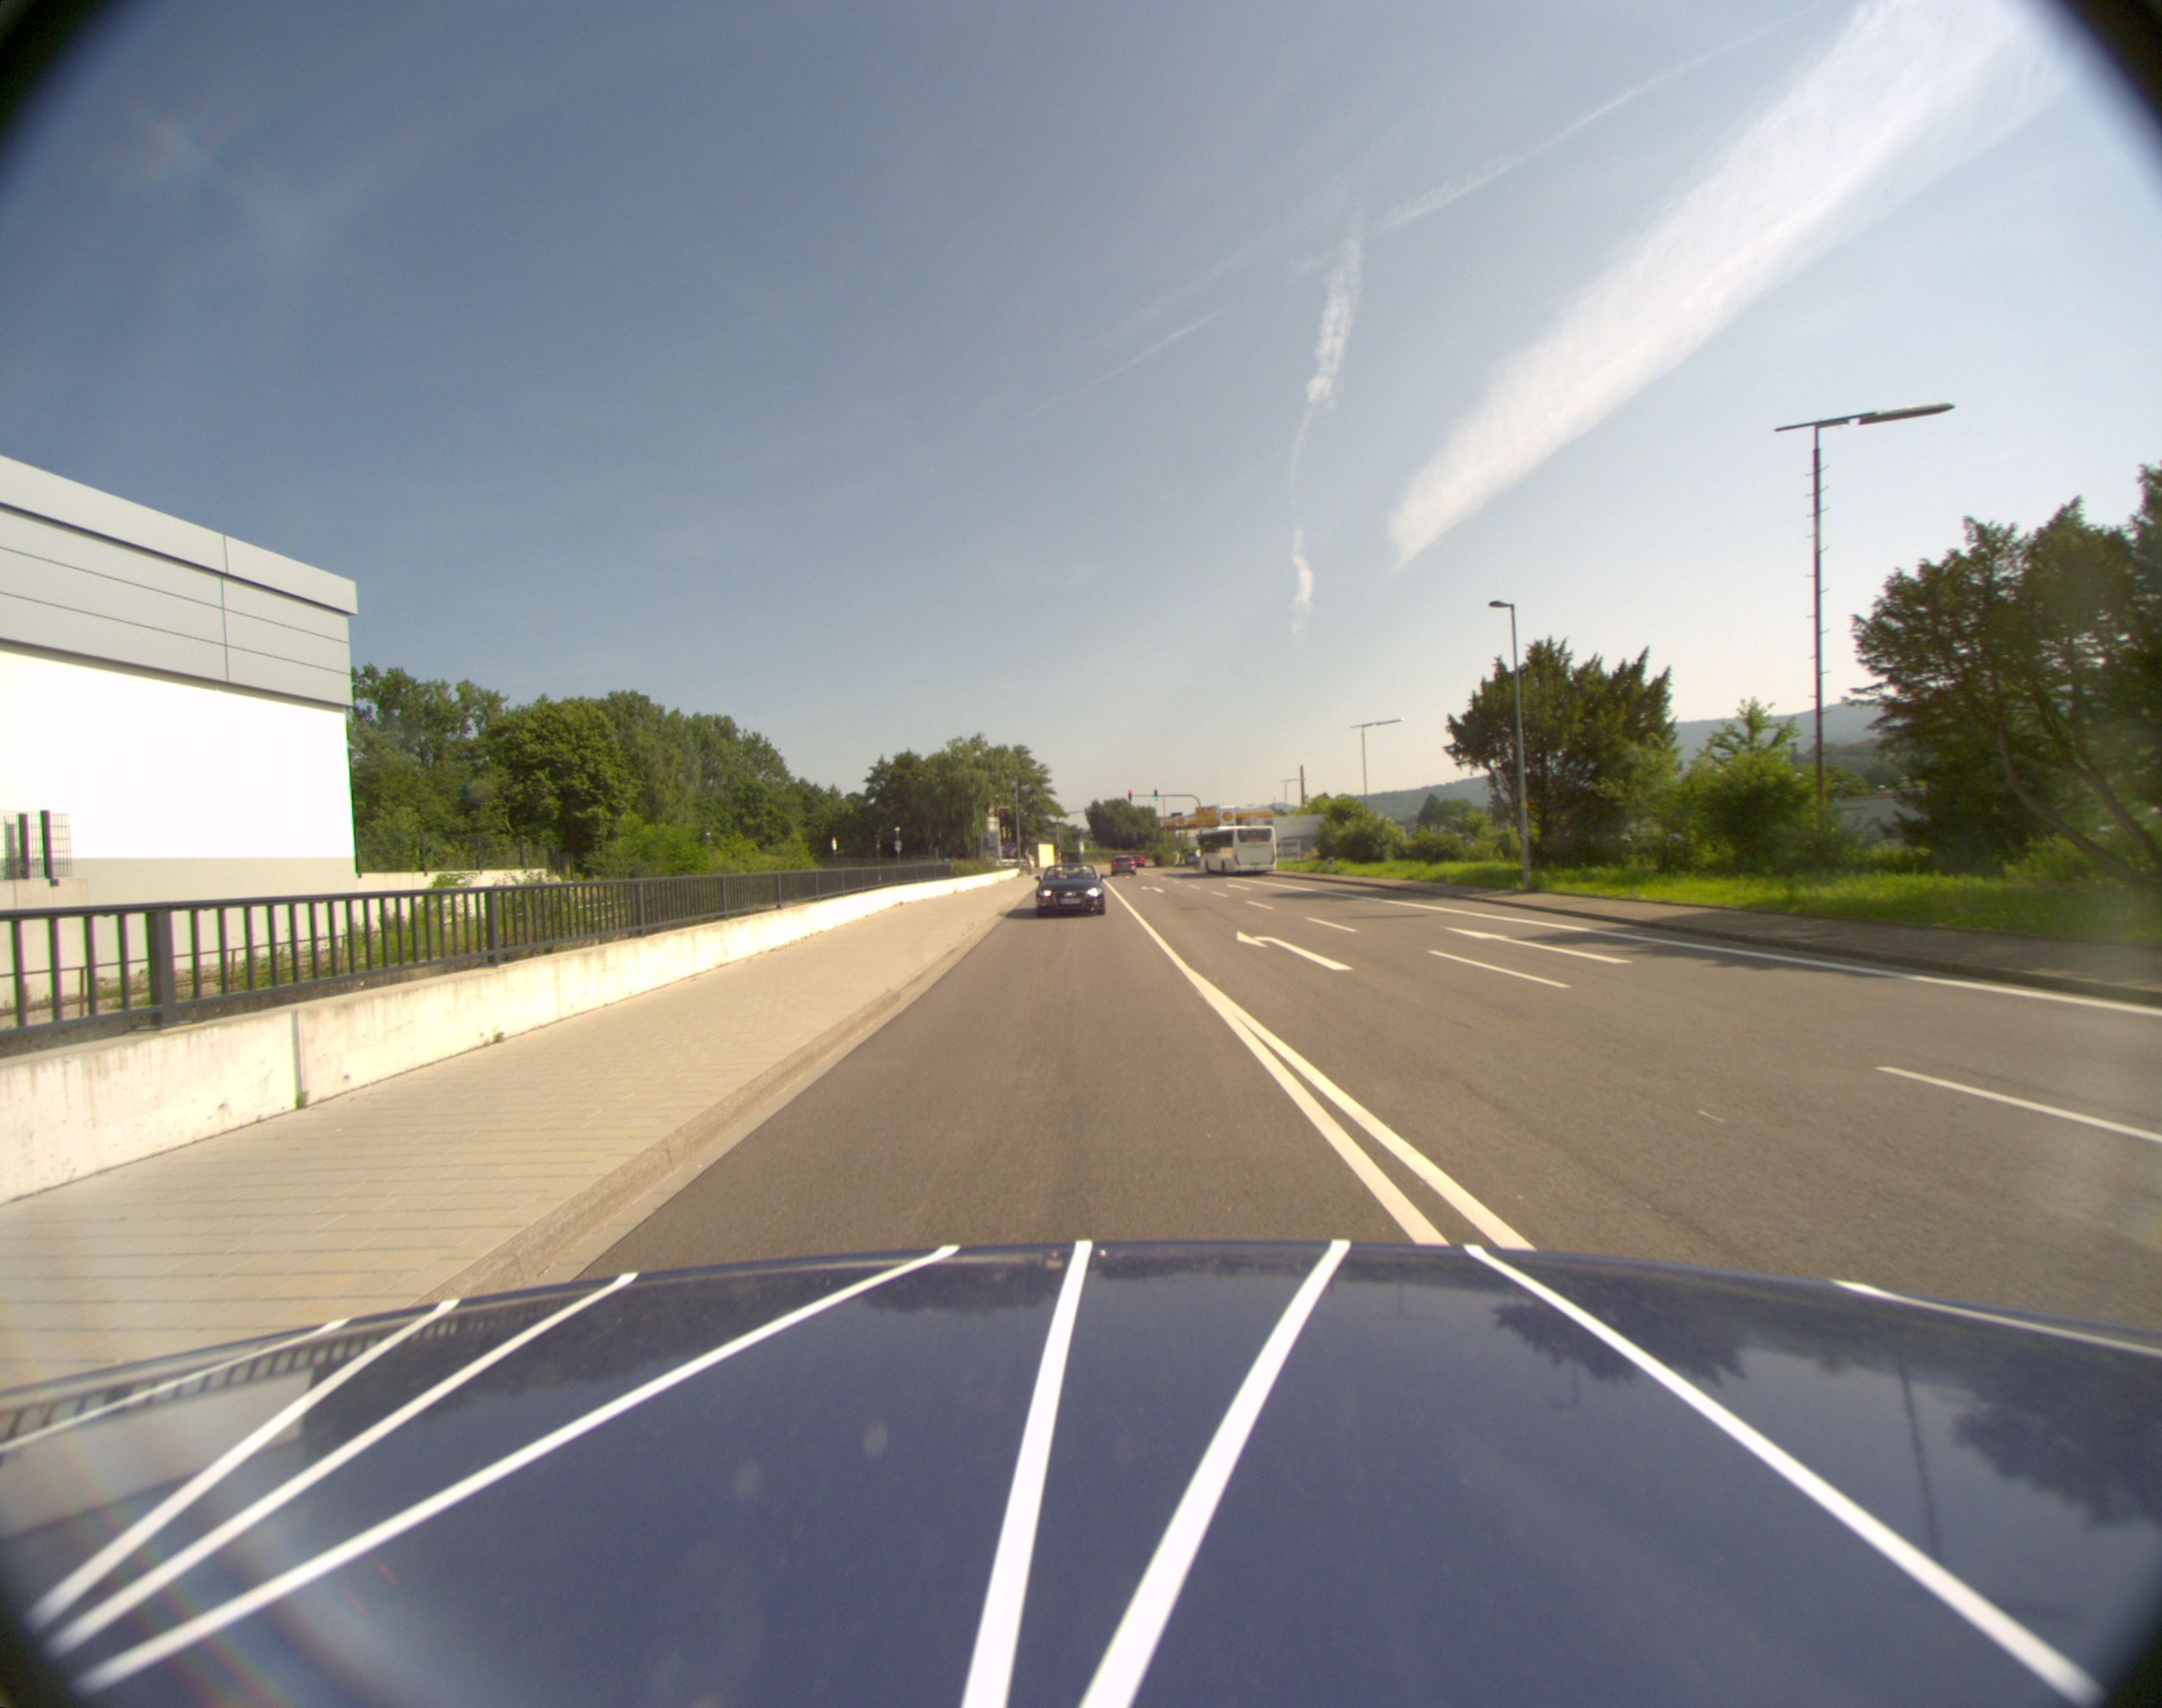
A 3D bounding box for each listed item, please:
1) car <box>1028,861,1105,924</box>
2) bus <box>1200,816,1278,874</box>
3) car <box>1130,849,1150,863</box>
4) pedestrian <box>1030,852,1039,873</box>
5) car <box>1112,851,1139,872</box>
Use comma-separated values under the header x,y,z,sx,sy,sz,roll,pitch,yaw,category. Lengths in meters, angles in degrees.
x,y,z,sx,sy,sz,roll,pitch,yaw,category
-0.326,0.987,21.007,1.868,1.323,4.231,-2,2,1,car
10.213,-0.581,50.634,2.627,3.291,11.955,-2,1,0,bus
6.924,0.229,89.468,1.842,1.483,4.431,-2,1,0,car
-3.816,0.667,62.170,0.712,1.661,0.593,-2,1,-7,pedestrian
3.246,0.516,56.123,1.777,1.464,4.219,-2,1,1,car
